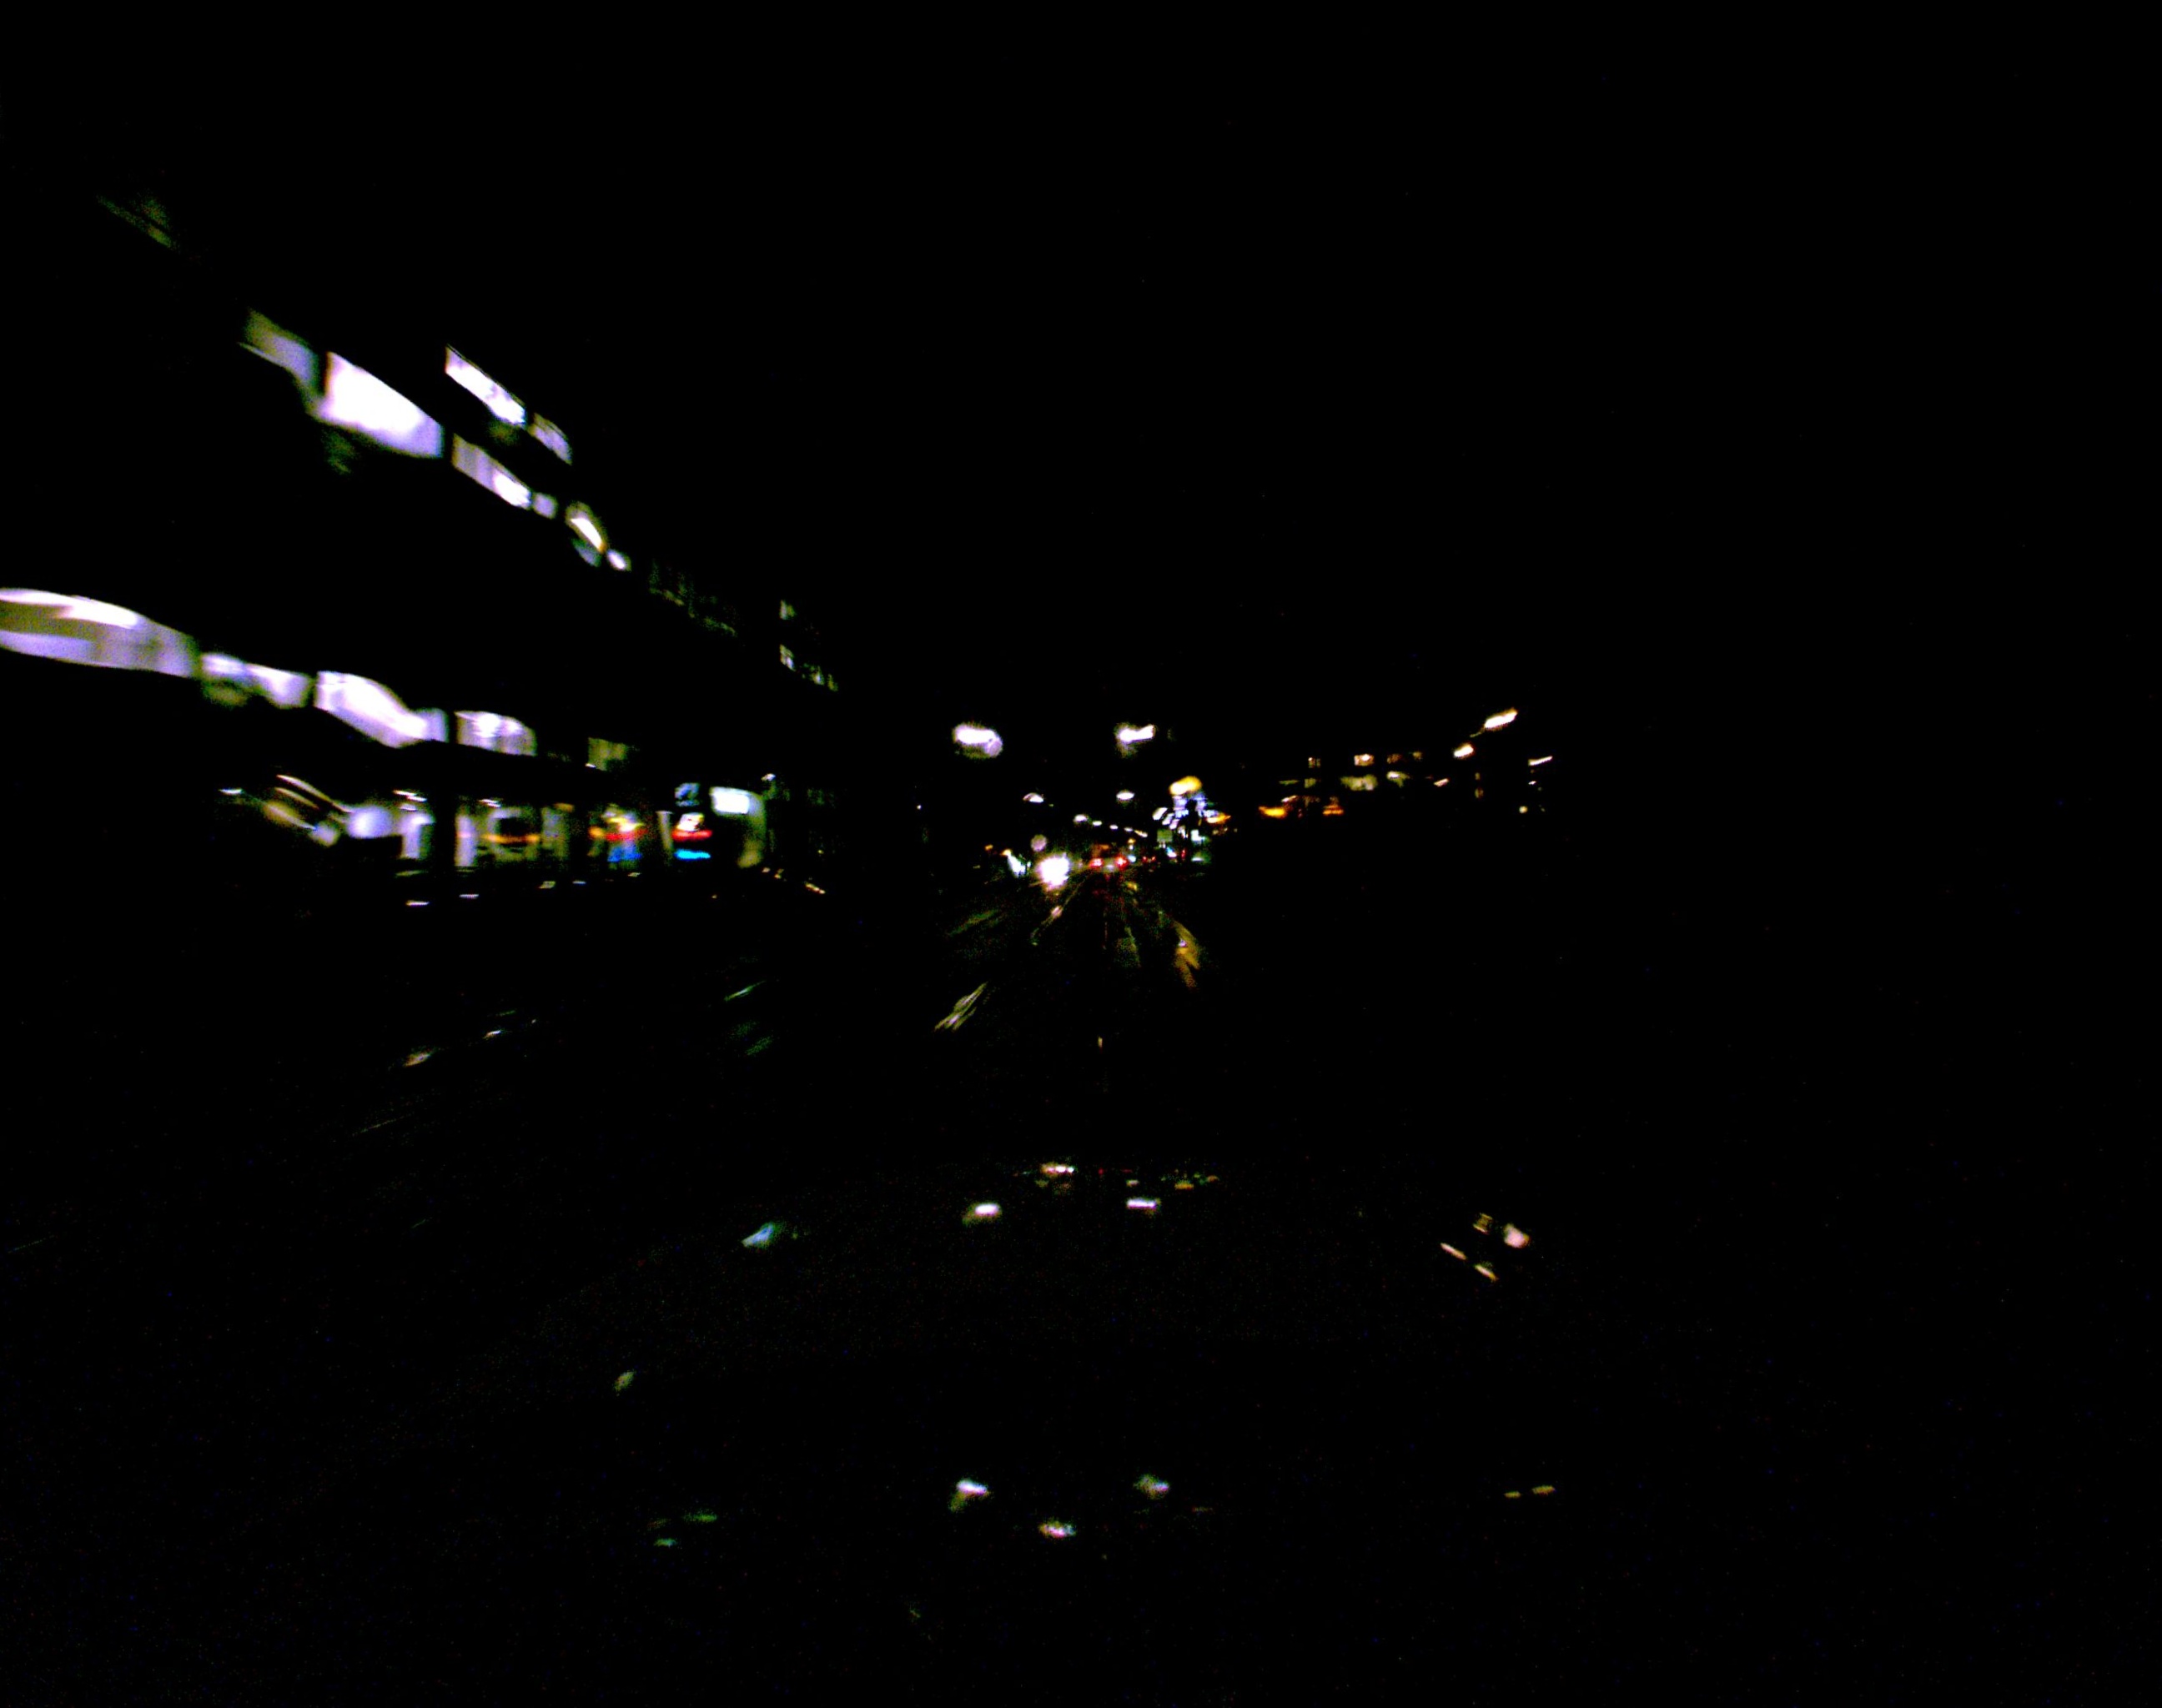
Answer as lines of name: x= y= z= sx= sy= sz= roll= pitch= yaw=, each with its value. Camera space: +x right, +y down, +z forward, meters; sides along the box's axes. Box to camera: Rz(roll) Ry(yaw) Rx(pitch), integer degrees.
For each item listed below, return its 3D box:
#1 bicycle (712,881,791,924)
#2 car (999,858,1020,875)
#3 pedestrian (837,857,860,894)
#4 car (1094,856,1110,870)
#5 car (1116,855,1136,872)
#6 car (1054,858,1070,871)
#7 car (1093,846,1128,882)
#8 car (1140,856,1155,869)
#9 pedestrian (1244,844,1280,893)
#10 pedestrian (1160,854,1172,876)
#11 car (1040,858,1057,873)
bicycle: x=-8.921 y=1.298 z=22.079 sx=1.847 sy=1.077 sz=0.628 roll=-2 pitch=-1 yaw=1
car: x=-8.674 y=1.561 z=99.756 sx=1.985 sy=2.014 sz=4.003 roll=-2 pitch=-1 yaw=3
pedestrian: x=-10.979 y=1.015 z=38.449 sx=0.783 sy=1.686 sz=0.883 roll=-2 pitch=-1 yaw=1
car: x=2.720 y=1.151 z=104.443 sx=1.986 sy=1.816 sz=4.000 roll=-2 pitch=-1 yaw=1
car: x=4.829 y=1.022 z=87.666 sx=2.007 sy=1.815 sz=4.004 roll=-2 pitch=-1 yaw=4
car: x=-2.933 y=1.642 z=124.362 sx=2.313 sy=1.932 sz=4.960 roll=-1 pitch=-1 yaw=-2
car: x=2.024 y=0.680 z=57.009 sx=2.236 sy=2.361 sz=4.394 roll=-2 pitch=-1 yaw=1
car: x=10.055 y=1.289 z=123.292 sx=1.986 sy=2.014 sz=4.001 roll=-2 pitch=-1 yaw=1
pedestrian: x=6.540 y=0.511 z=29.486 sx=0.937 sy=1.663 sz=0.993 roll=-4 pitch=0 yaw=-3
pedestrian: x=7.072 y=0.913 z=67.778 sx=0.771 sy=1.776 sz=0.697 roll=-2 pitch=-1 yaw=19
car: x=-4.092 y=1.423 z=102.618 sx=1.988 sy=1.724 sz=4.073 roll=-1 pitch=-1 yaw=-2
